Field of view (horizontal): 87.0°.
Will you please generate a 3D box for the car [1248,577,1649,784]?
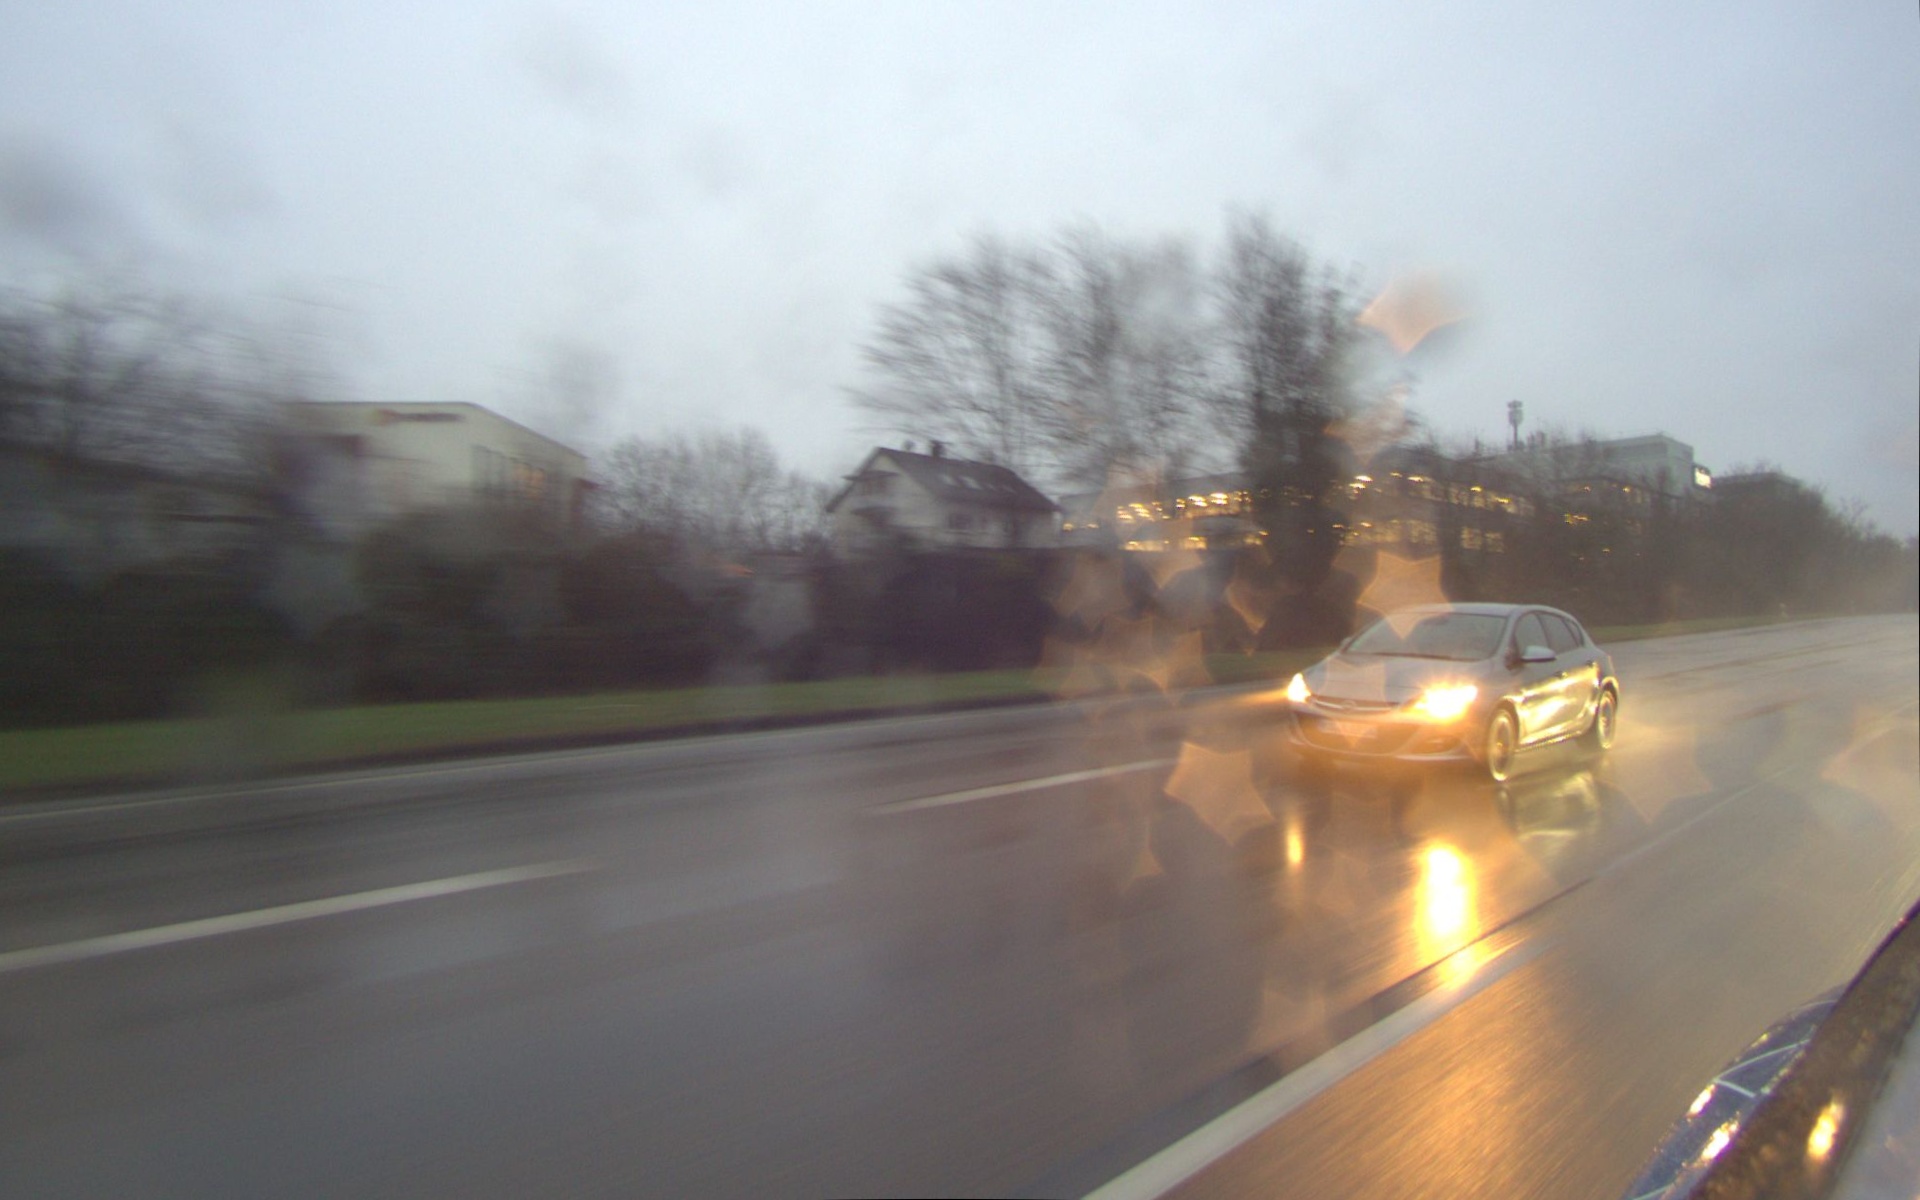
[{"bbox_3d":[4.749,0.581,9.580,4.187,1.521,1.853,-1,0,-40],"label":"car"}]
